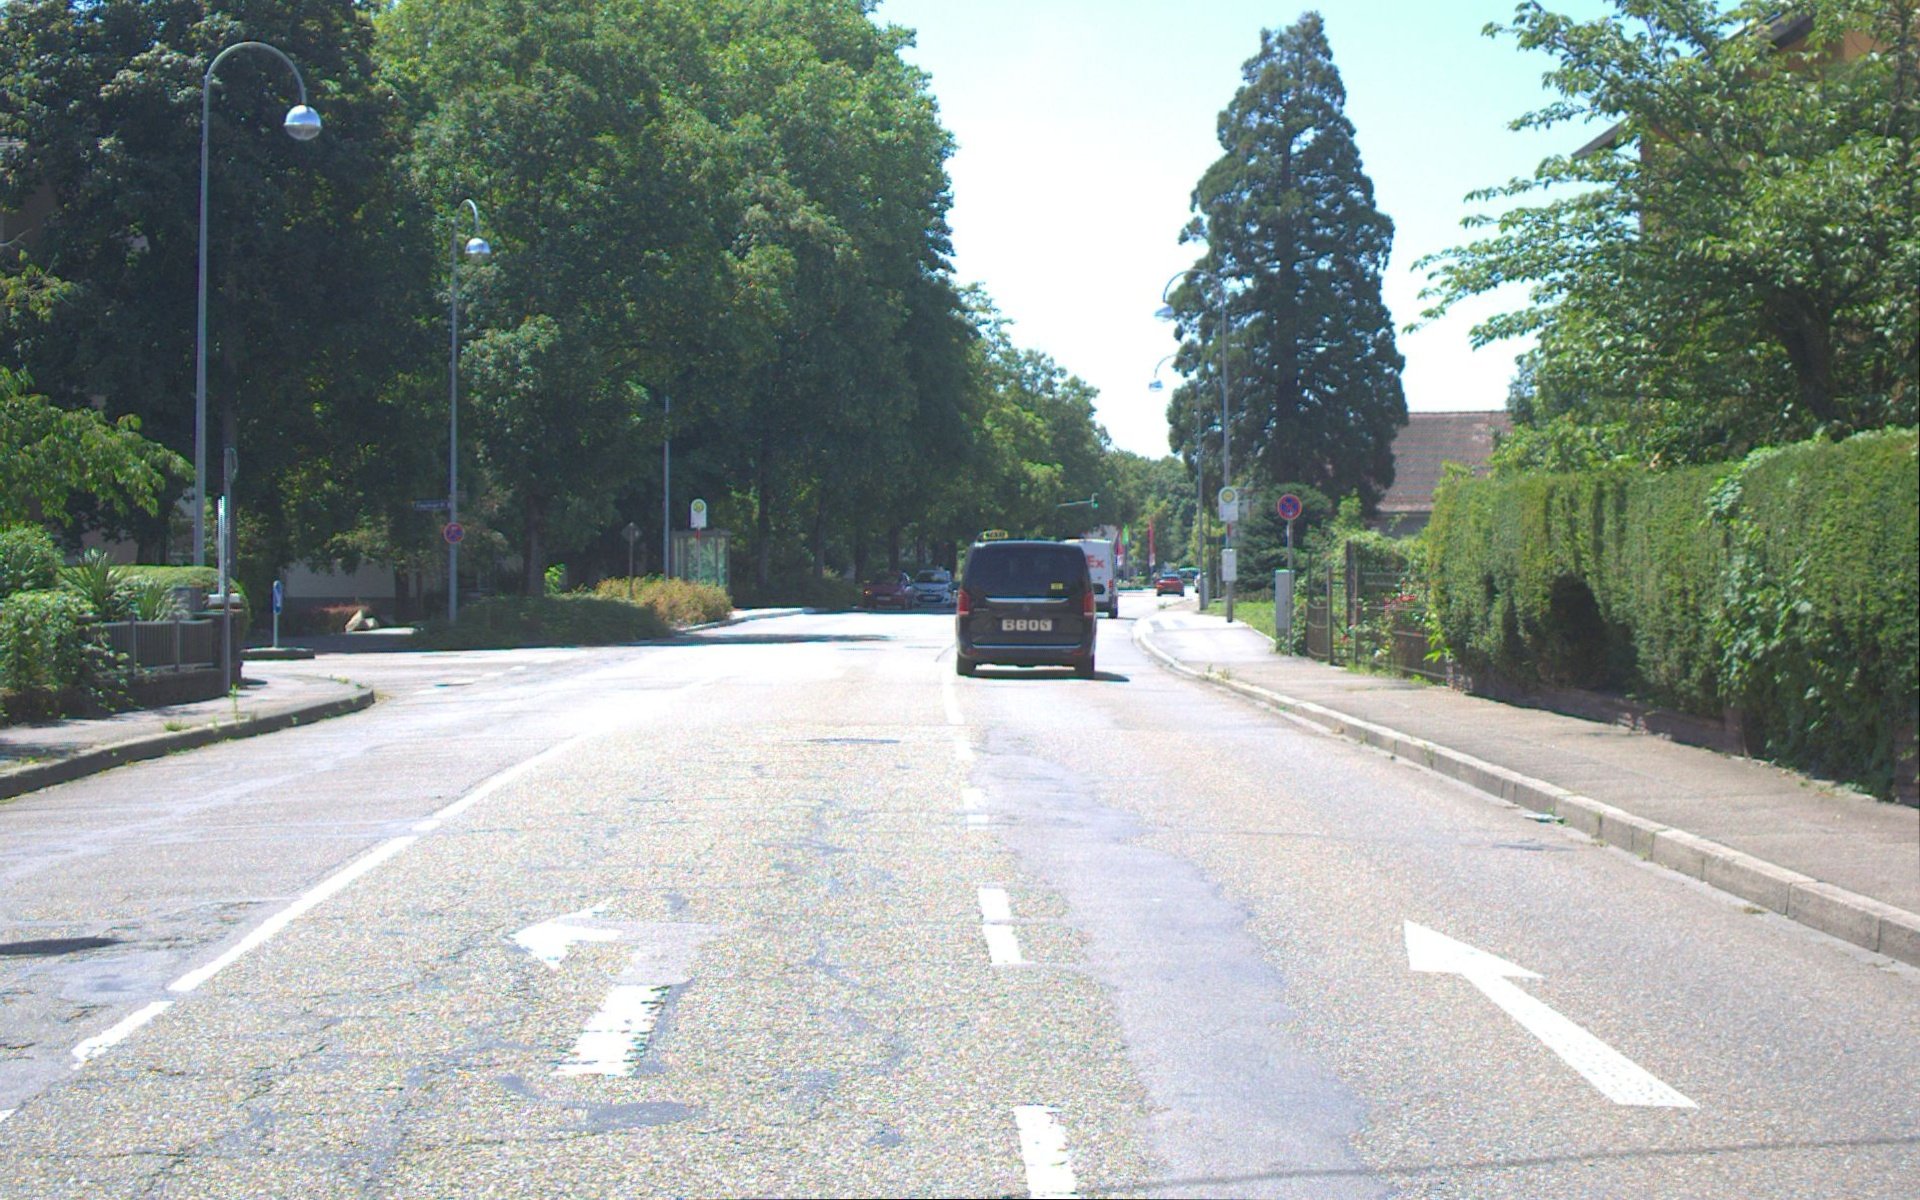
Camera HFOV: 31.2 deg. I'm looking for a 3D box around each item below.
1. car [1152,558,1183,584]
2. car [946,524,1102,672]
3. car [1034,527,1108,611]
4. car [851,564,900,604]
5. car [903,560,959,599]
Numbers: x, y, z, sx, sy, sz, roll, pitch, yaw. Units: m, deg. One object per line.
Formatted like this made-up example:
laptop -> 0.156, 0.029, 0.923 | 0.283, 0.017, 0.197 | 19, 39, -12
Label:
car -> 13.646, -1.909, 226.250 | 1.857, 1.637, 4.000 | 2, 1, 1
car -> 0.908, -0.071, 47.134 | 1.993, 1.887, 4.000 | 2, 1, 2
car -> 3.731, -1.065, 114.785 | 2.120, 2.668, 5.661 | 2, 1, 4
car -> -3.120, -0.599, 127.962 | 1.550, 1.445, 3.690 | 2, 0, 2
car -> -1.125, -0.814, 135.152 | 1.691, 1.455, 3.639 | 2, 1, 7
